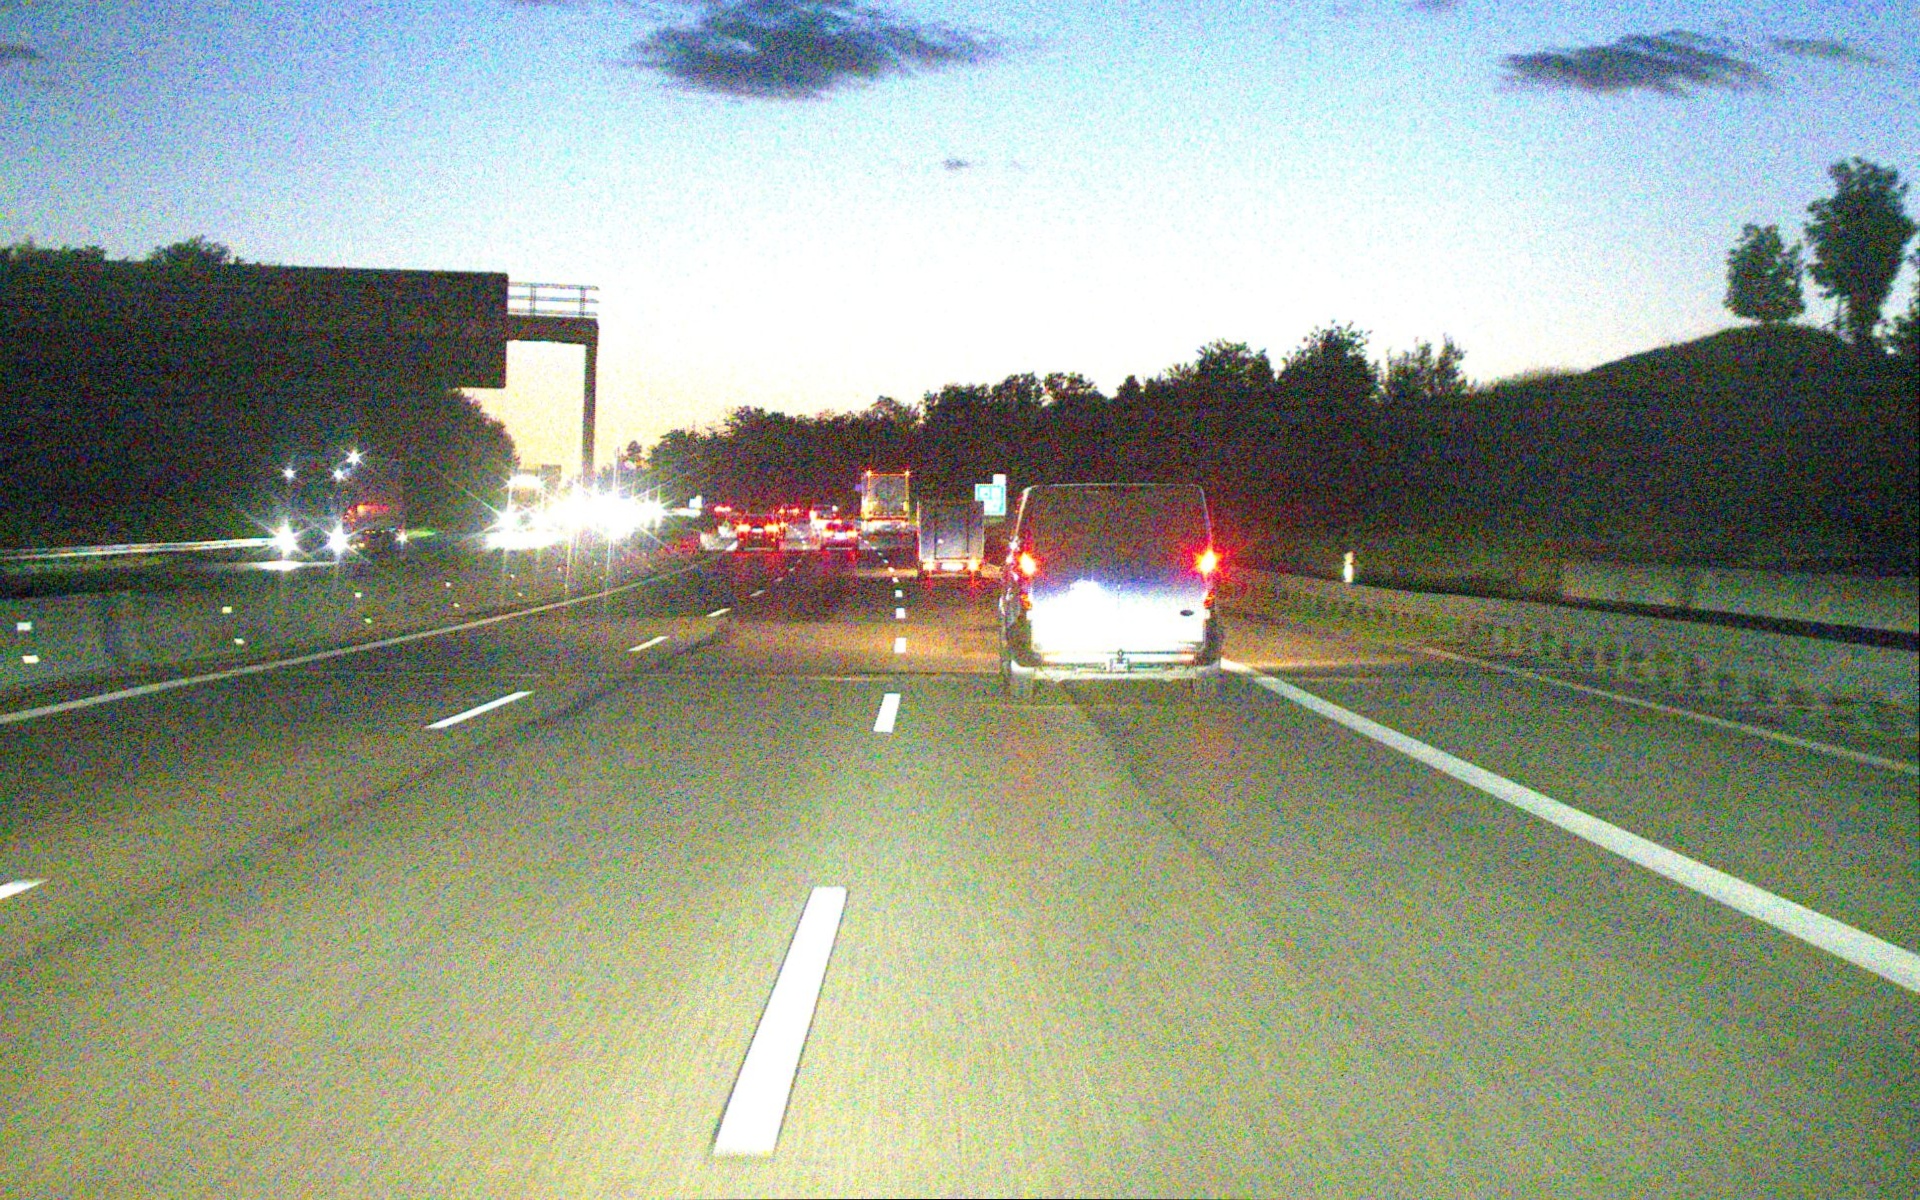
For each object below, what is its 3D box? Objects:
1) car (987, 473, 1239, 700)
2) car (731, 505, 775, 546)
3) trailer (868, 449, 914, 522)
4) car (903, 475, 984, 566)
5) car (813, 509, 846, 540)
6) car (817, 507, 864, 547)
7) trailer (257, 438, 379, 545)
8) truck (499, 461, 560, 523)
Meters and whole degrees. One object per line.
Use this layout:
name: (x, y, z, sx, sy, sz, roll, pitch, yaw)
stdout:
car: (1.372, -0.197, 33.178, 2.115, 1.994, 5.664, 0, 1, -1)
car: (-9.557, -3.425, 158.584, 1.993, 1.809, 4.000, 0, 0, -3)
trailer: (-4.599, -7.457, 226.231, 2.829, 4.242, 17.050, 0, 0, -2)
car: (-0.524, -2.384, 102.663, 2.032, 2.637, 5.726, 0, 1, -4)
car: (-8.011, -4.632, 210.971, 1.993, 1.788, 4.000, 0, 0, -2)
car: (-5.723, -3.476, 164.131, 1.993, 1.788, 4.001, 0, 0, -6)
trailer: (-24.453, -4.120, 131.352, 3.430, 3.966, 7.353, 0, 1, -1)
truck: (-27.874, -6.987, 222.964, 3.430, 3.966, 6.208, 0, 1, -3)
